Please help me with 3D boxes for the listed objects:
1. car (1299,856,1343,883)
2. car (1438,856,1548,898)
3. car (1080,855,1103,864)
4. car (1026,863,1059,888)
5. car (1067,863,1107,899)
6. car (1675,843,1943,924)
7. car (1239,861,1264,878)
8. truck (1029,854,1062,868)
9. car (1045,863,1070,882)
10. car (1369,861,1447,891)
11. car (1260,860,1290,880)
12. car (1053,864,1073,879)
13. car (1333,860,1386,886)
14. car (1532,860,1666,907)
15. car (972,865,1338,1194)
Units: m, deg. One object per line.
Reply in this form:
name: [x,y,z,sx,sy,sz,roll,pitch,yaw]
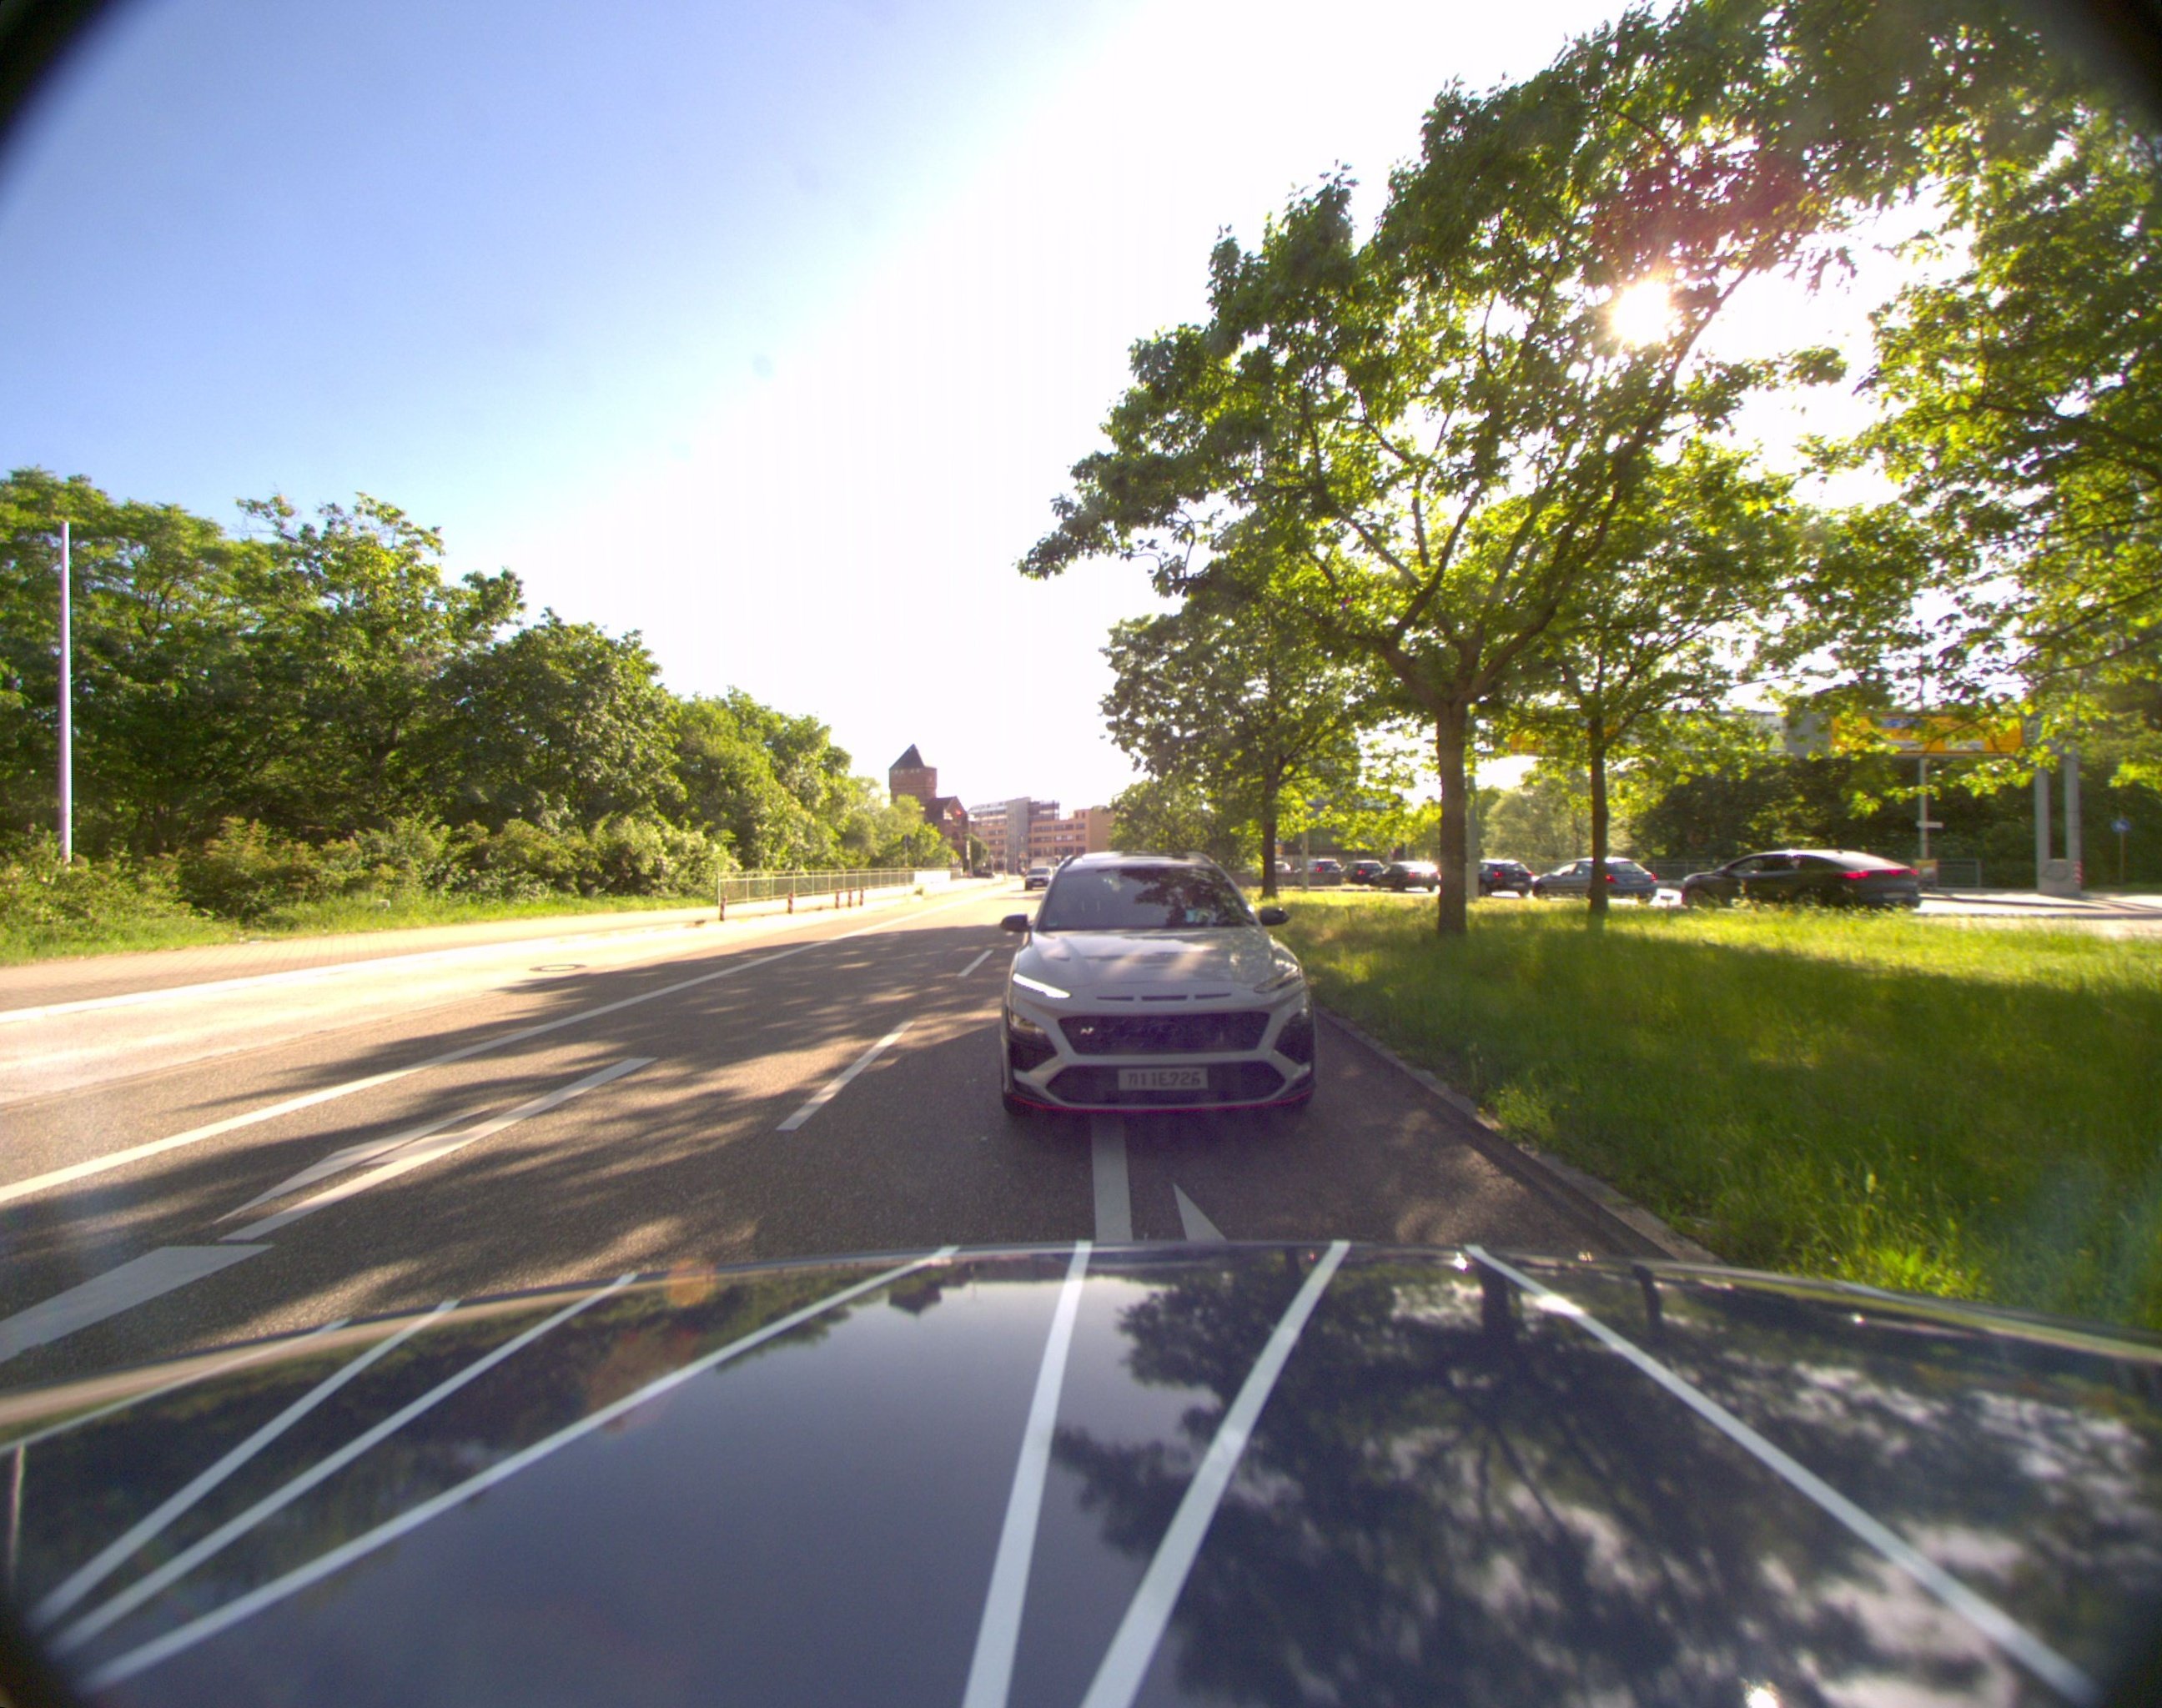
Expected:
car: [14.969,0.997,47.556,1.450,1.549,3.202,-1,-2,-6]
car: [16.186,0.851,30.145,1.875,1.541,4.221,-1,0,-4]
car: [2.225,1.282,167.195,2.177,2.001,5.400,-1,0,-36]
car: [-2.342,1.303,47.023,1.776,1.395,4.318,-1,0,1]
car: [0.292,1.161,34.410,1.677,1.463,4.151,-1,0,1]
car: [16.784,0.611,17.911,1.832,1.638,4.458,-1,0,-5]
car: [13.945,1.286,62.322,1.199,1.252,2.768,-1,-2,-6]
truck: [-8.640,1.681,185.241,3.535,3.231,9.141,-1,0,-36]
car: [-1.879,1.453,61.054,1.785,1.411,4.001,-1,-1,1]
car: [15.475,1.002,36.218,1.623,1.305,4.066,-1,0,-6]
car: [14.321,1.212,56.131,1.228,1.331,2.882,-1,-3,-6]
car: [-1.730,1.685,73.128,1.785,1.411,4.001,-1,-1,1]
car: [15.151,1.038,41.474,1.481,1.331,3.202,-1,-1,-6]
car: [16.362,0.887,24.236,1.561,1.355,3.608,-1,-1,-6]
car: [0.386,0.886,5.684,1.752,1.523,3.988,-1,0,1]
